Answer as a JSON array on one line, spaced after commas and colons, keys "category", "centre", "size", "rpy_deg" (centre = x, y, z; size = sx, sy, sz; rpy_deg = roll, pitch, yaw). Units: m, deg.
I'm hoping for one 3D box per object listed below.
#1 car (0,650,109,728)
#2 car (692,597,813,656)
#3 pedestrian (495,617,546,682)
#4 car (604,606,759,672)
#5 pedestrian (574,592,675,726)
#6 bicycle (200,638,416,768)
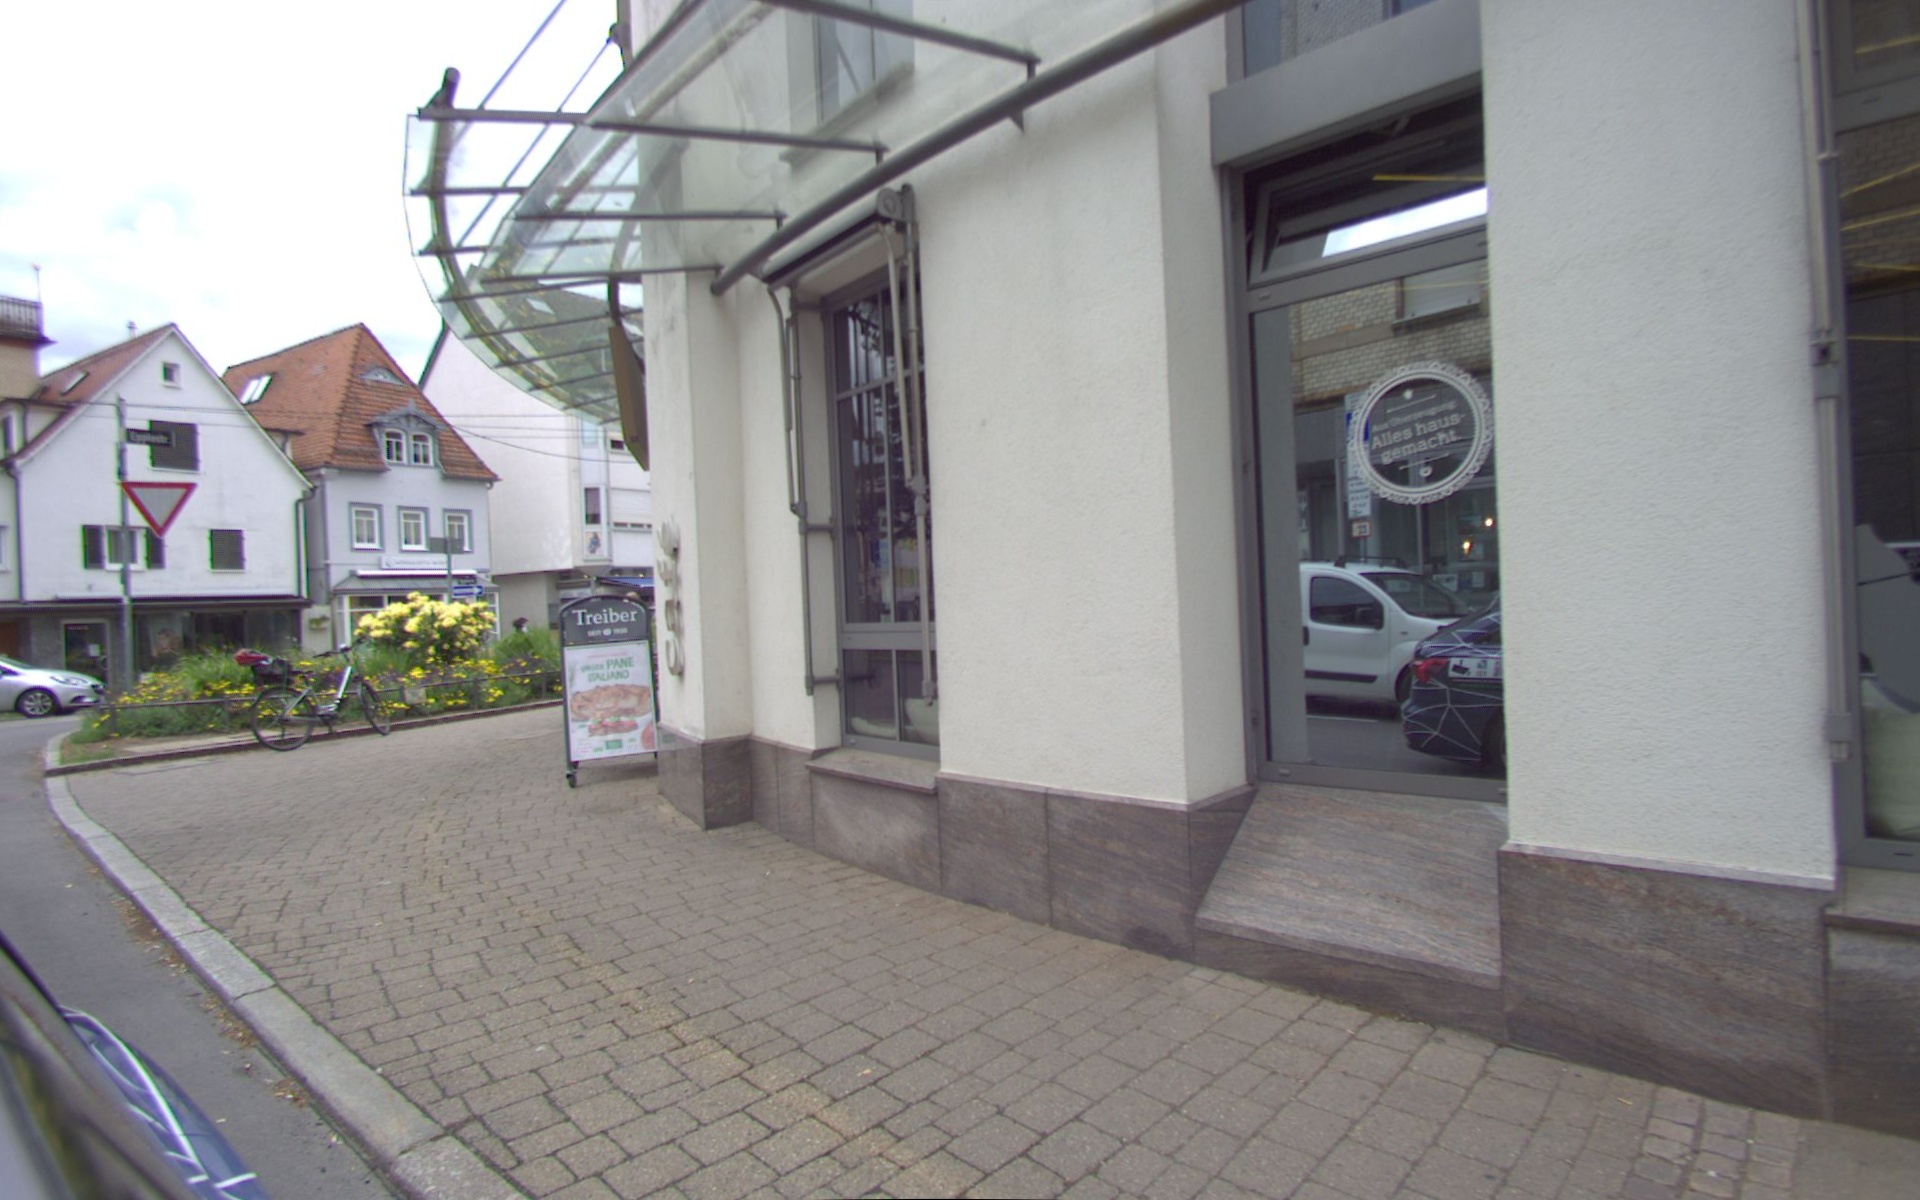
[{"category": "car", "centre": [-19.825, 1.867, 20.230], "size": [3.931, 1.365, 1.762], "rpy_deg": [-4, 1, -25]}, {"category": "car", "centre": [-7.531, 0.938, 36.975], "size": [1.997, 1.868, 3.950], "rpy_deg": [-4, -1, 37]}, {"category": "pedestrian", "centre": [-14.495, 1.626, 33.357], "size": [1.103, 2.028, 1.002], "rpy_deg": [-4, 0, 34]}, {"category": "car", "centre": [-8.125, 1.125, 29.762], "size": [1.895, 1.639, 3.946], "rpy_deg": [-5, -2, 41]}, {"category": "pedestrian", "centre": [-4.070, 0.704, 12.313], "size": [0.859, 1.537, 0.700], "rpy_deg": [-4, -1, 14]}, {"category": "bicycle", "centre": [-7.470, 1.141, 11.714], "size": [0.740, 1.249, 1.964], "rpy_deg": [-4, 0, 25]}]
